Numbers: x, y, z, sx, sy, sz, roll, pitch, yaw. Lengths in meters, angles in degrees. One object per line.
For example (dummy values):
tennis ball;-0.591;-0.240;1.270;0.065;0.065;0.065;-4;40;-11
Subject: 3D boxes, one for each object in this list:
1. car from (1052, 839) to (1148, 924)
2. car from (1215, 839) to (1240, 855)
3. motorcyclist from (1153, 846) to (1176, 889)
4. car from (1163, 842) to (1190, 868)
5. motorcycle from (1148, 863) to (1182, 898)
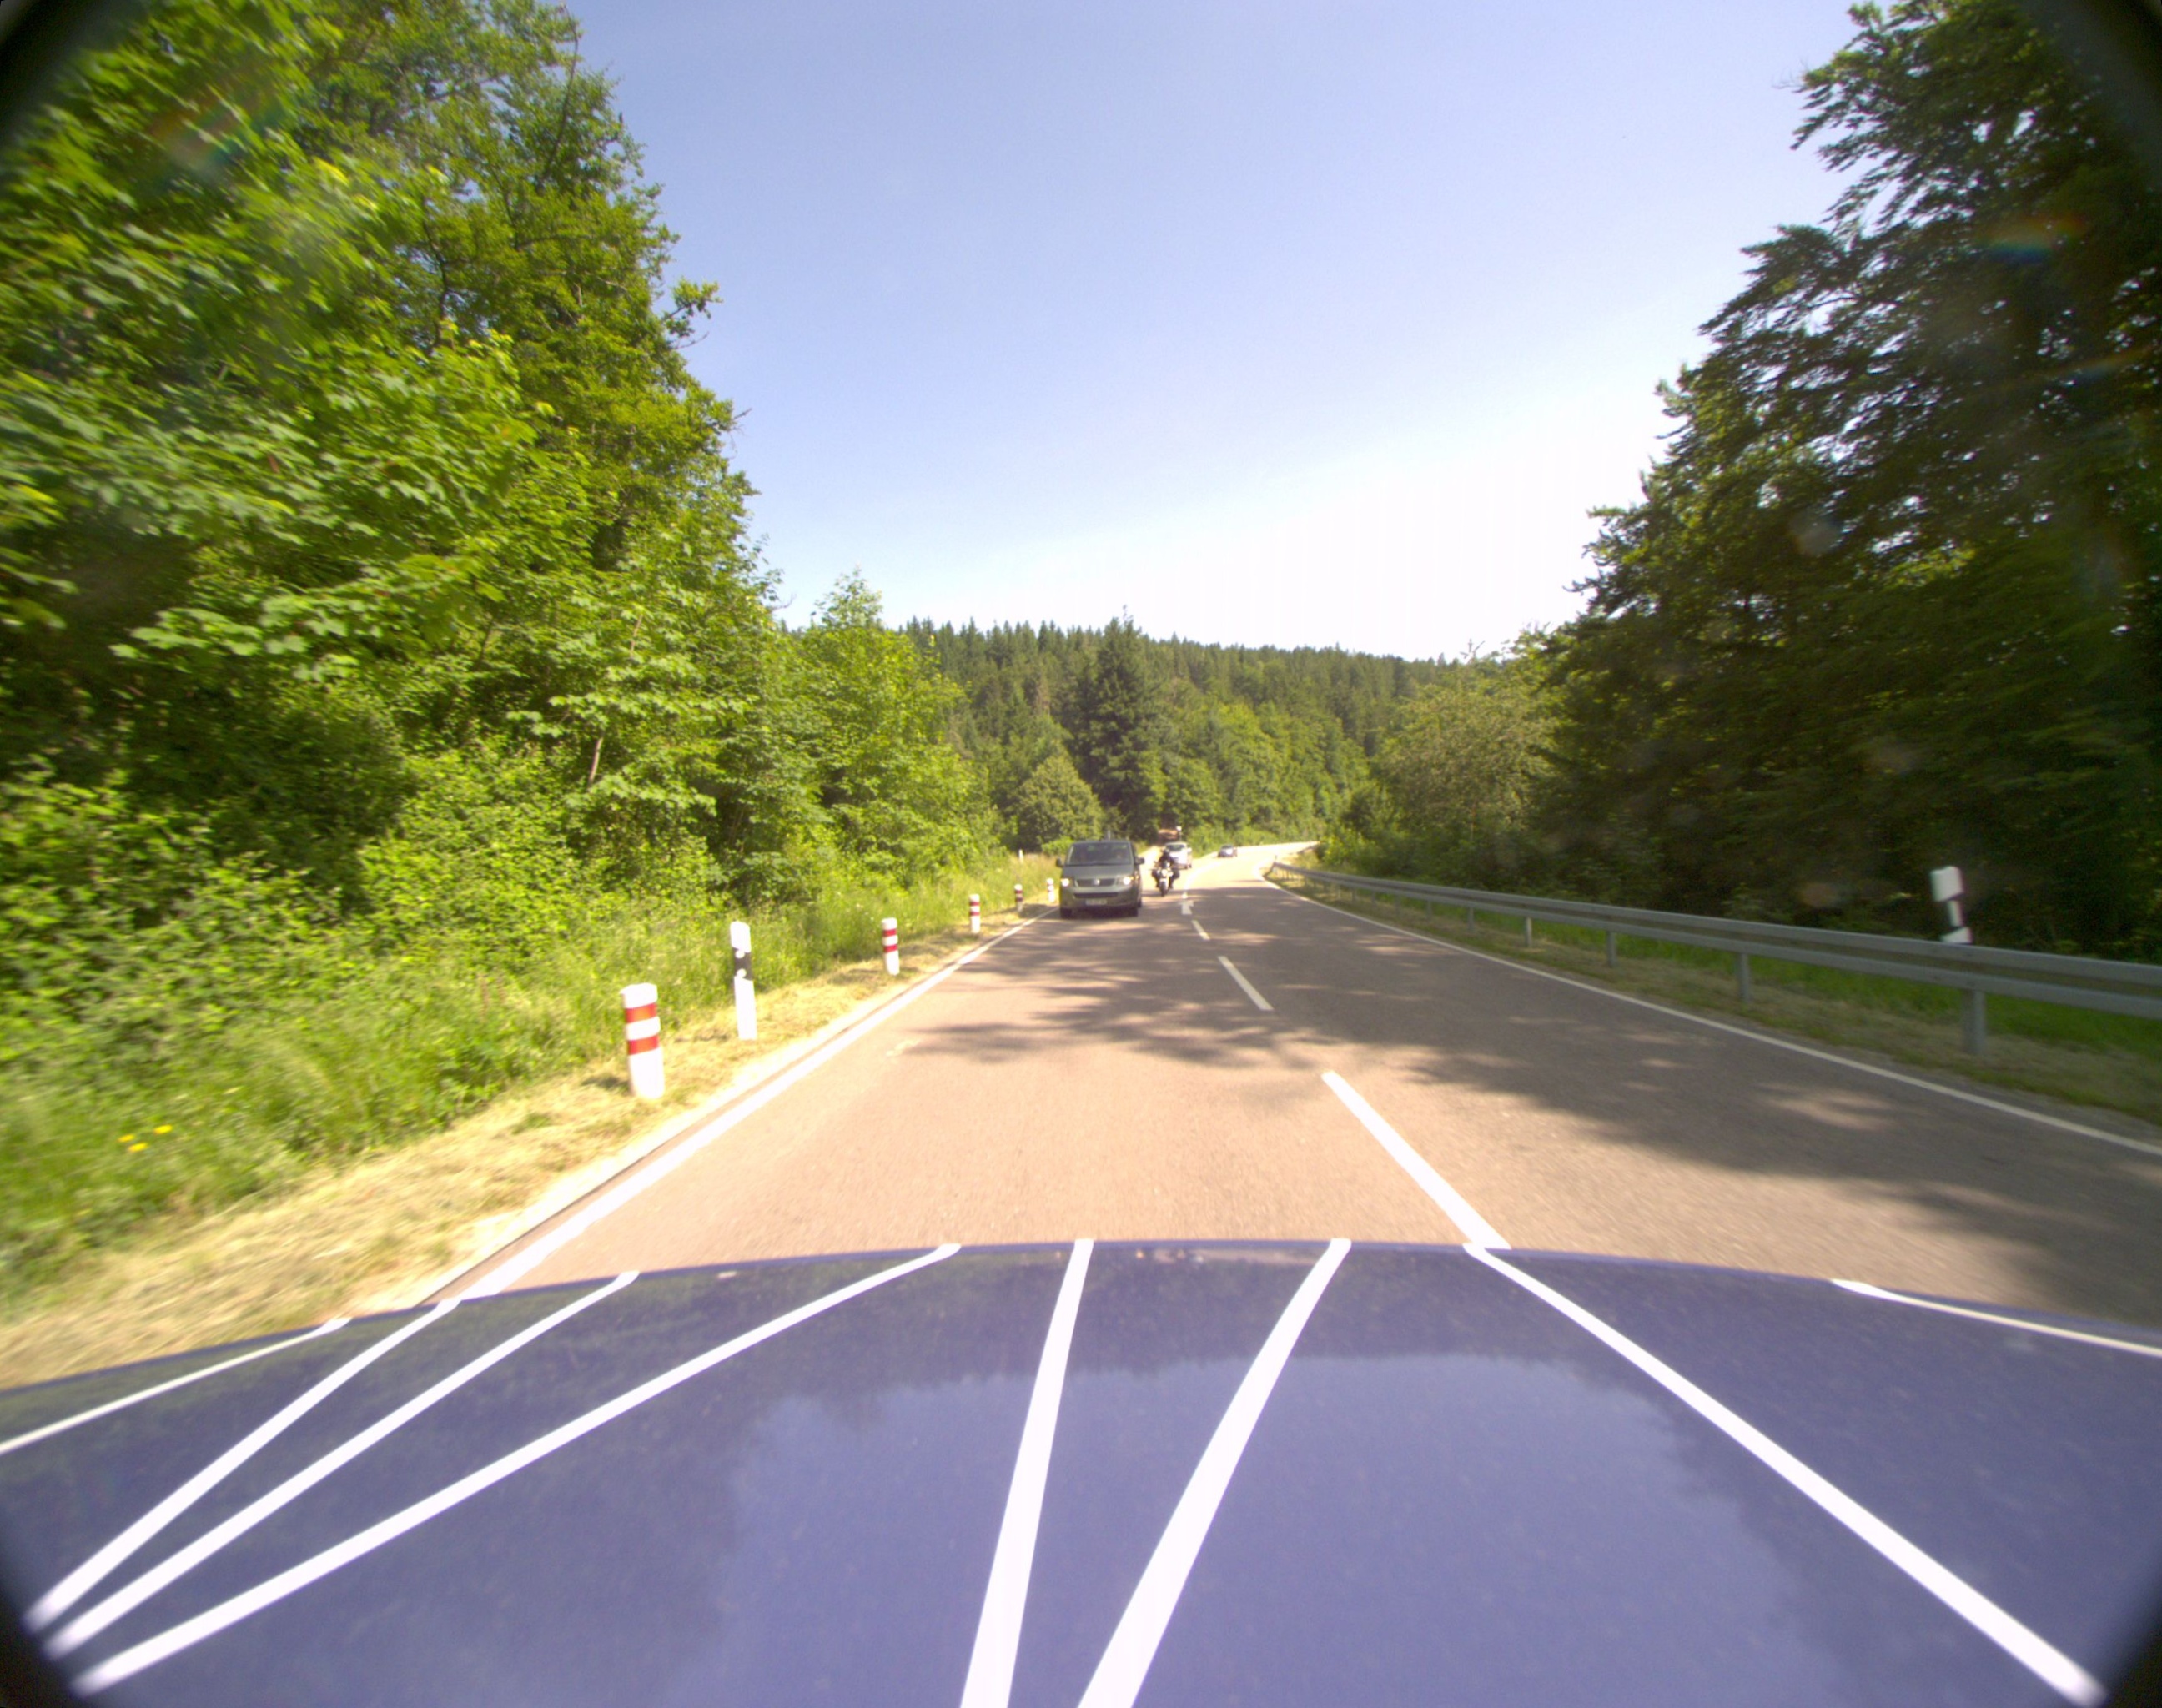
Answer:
car;0.657;0.616;20.006;2.028;1.940;4.901;-1;1;7
car;16.369;-0.784;84.769;1.996;1.634;4.005;-2;1;20
motorcyclist;2.874;0.464;26.145;0.716;1.422;0.999;-3;0;6
car;6.879;0.030;54.346;1.651;1.749;3.797;-1;1;10
motorcycle;2.917;0.896;26.335;1.109;1.117;1.962;-1;1;7
